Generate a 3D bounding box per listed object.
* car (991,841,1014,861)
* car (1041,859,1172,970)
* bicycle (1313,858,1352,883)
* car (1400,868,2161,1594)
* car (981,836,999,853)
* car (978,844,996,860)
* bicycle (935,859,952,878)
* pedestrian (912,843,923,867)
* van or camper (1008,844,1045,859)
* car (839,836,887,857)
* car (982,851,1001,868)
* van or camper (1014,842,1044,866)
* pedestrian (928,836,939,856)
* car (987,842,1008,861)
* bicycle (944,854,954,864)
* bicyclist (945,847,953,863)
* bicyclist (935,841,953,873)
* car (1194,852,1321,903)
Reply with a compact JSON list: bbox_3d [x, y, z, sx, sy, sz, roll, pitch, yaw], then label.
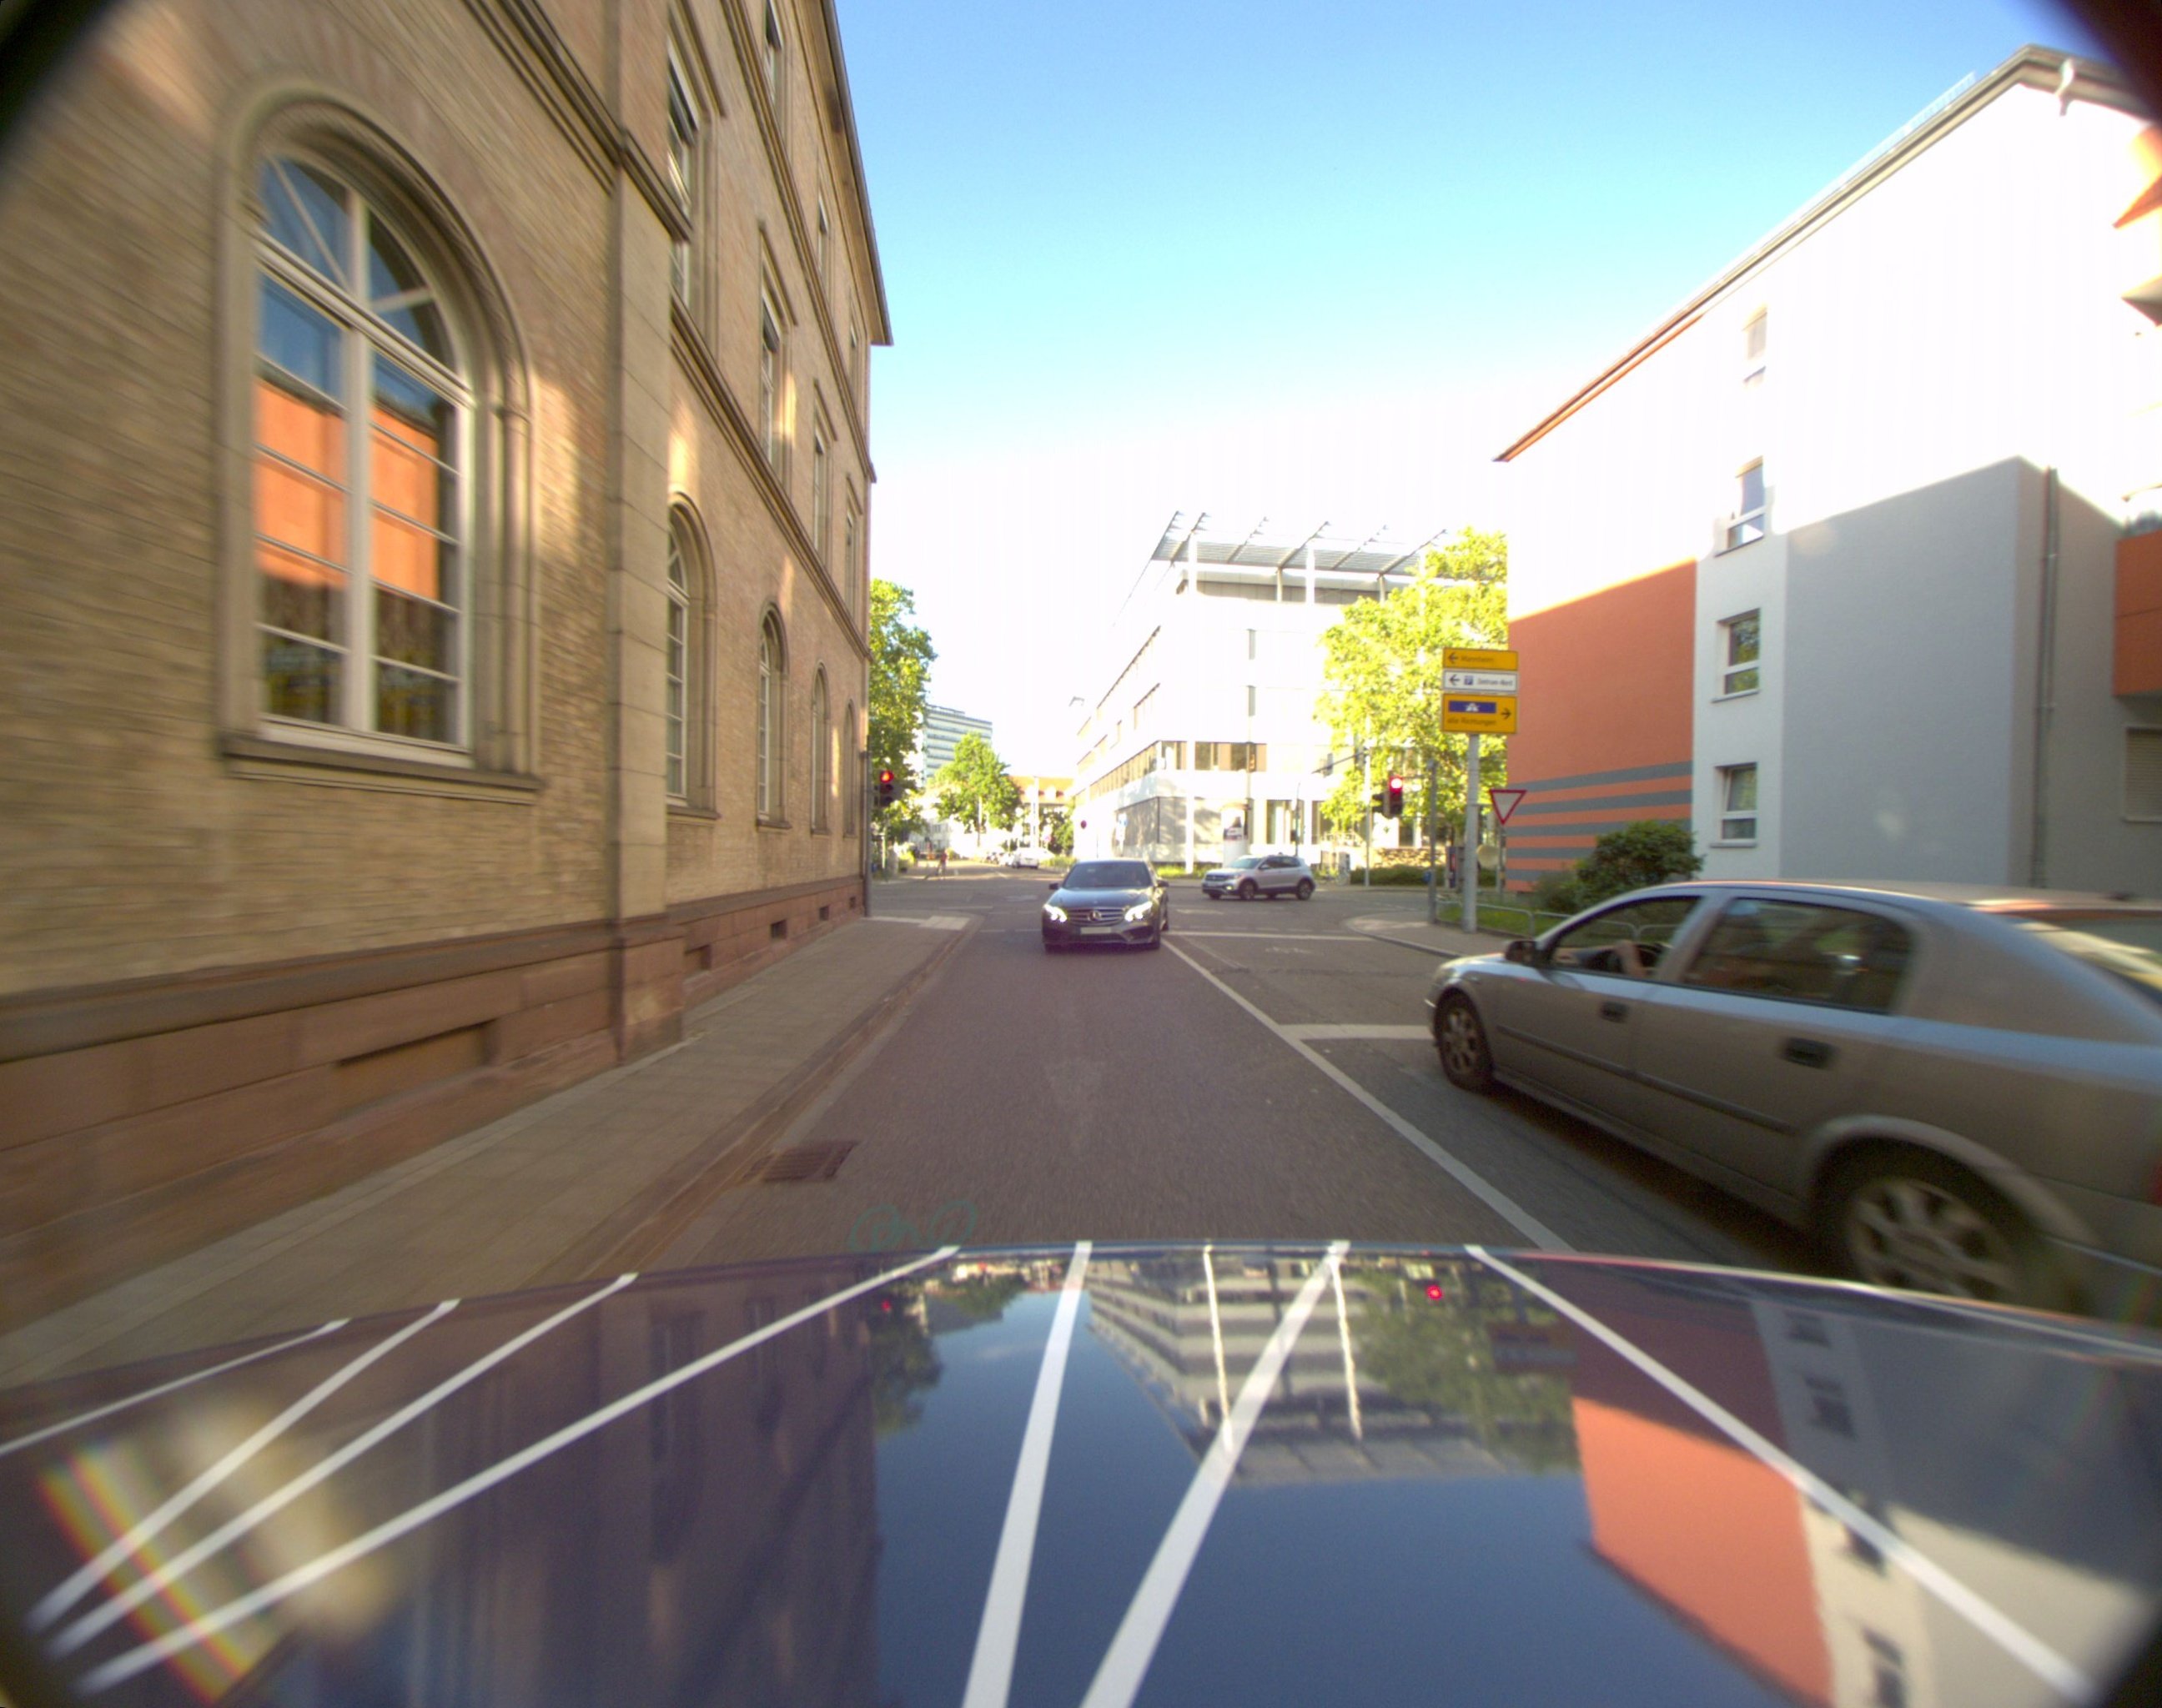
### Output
[{"bbox_3d":[-8.043,-0.313,77.768,2.000,2.002,3.996,0,0,-10],"label":"car"},{"bbox_3d":[0.529,0.870,13.003,1.798,1.460,4.720,-1,0,4],"label":"car"},{"bbox_3d":[12.950,0.834,39.141,0.471,1.175,1.987,-1,1,-37],"label":"bicycle"},{"bbox_3d":[3.218,0.882,3.407,1.745,1.477,4.136,2,0,-1],"label":"car"},{"bbox_3d":[-11.288,-1.166,94.009,2.000,2.002,3.996,0,0,-10],"label":"car"},{"bbox_3d":[-12.187,-0.235,98.398,2.000,2.001,3.997,0,-1,-10],"label":"car"},{"bbox_3d":[-7.860,0.804,43.458,0.943,1.032,3.003,0,0,-10],"label":"bicycle"},{"bbox_3d":[-12.775,0.102,59.420,0.668,1.844,1.024,0,1,-19],"label":"pedestrian"},{"bbox_3d":[-7.505,-0.340,105.108,4.736,2.075,1.996,0,1,-20],"label":"van or camper"},{"bbox_3d":[-22.161,-0.749,77.397,4.569,2.101,1.997,0,1,-14],"label":"car"},{"bbox_3d":[-10.398,0.624,88.088,2.000,2.002,3.996,0,0,-10],"label":"car"},{"bbox_3d":[-4.670,-0.019,67.963,2.163,2.002,4.972,0,1,-10],"label":"van or camper"},{"bbox_3d":[-24.100,-1.278,124.056,1.462,3.290,1.403,-1,1,-27],"label":"pedestrian"},{"bbox_3d":[-9.100,-0.243,82.342,2.000,2.002,3.996,0,0,-10],"label":"car"},{"bbox_3d":[-13.254,0.454,76.232,0.762,0.944,3.054,0,0,-13],"label":"bicycle"},{"bbox_3d":[-13.277,0.054,76.271,0.762,1.583,0.900,0,1,-13],"label":"bicyclist"},{"bbox_3d":[-7.814,0.175,43.286,0.978,1.797,1.130,0,1,-10],"label":"bicyclist"},{"bbox_3d":[5.961,0.745,25.594,4.006,1.594,1.744,0,1,-28],"label":"car"}]
